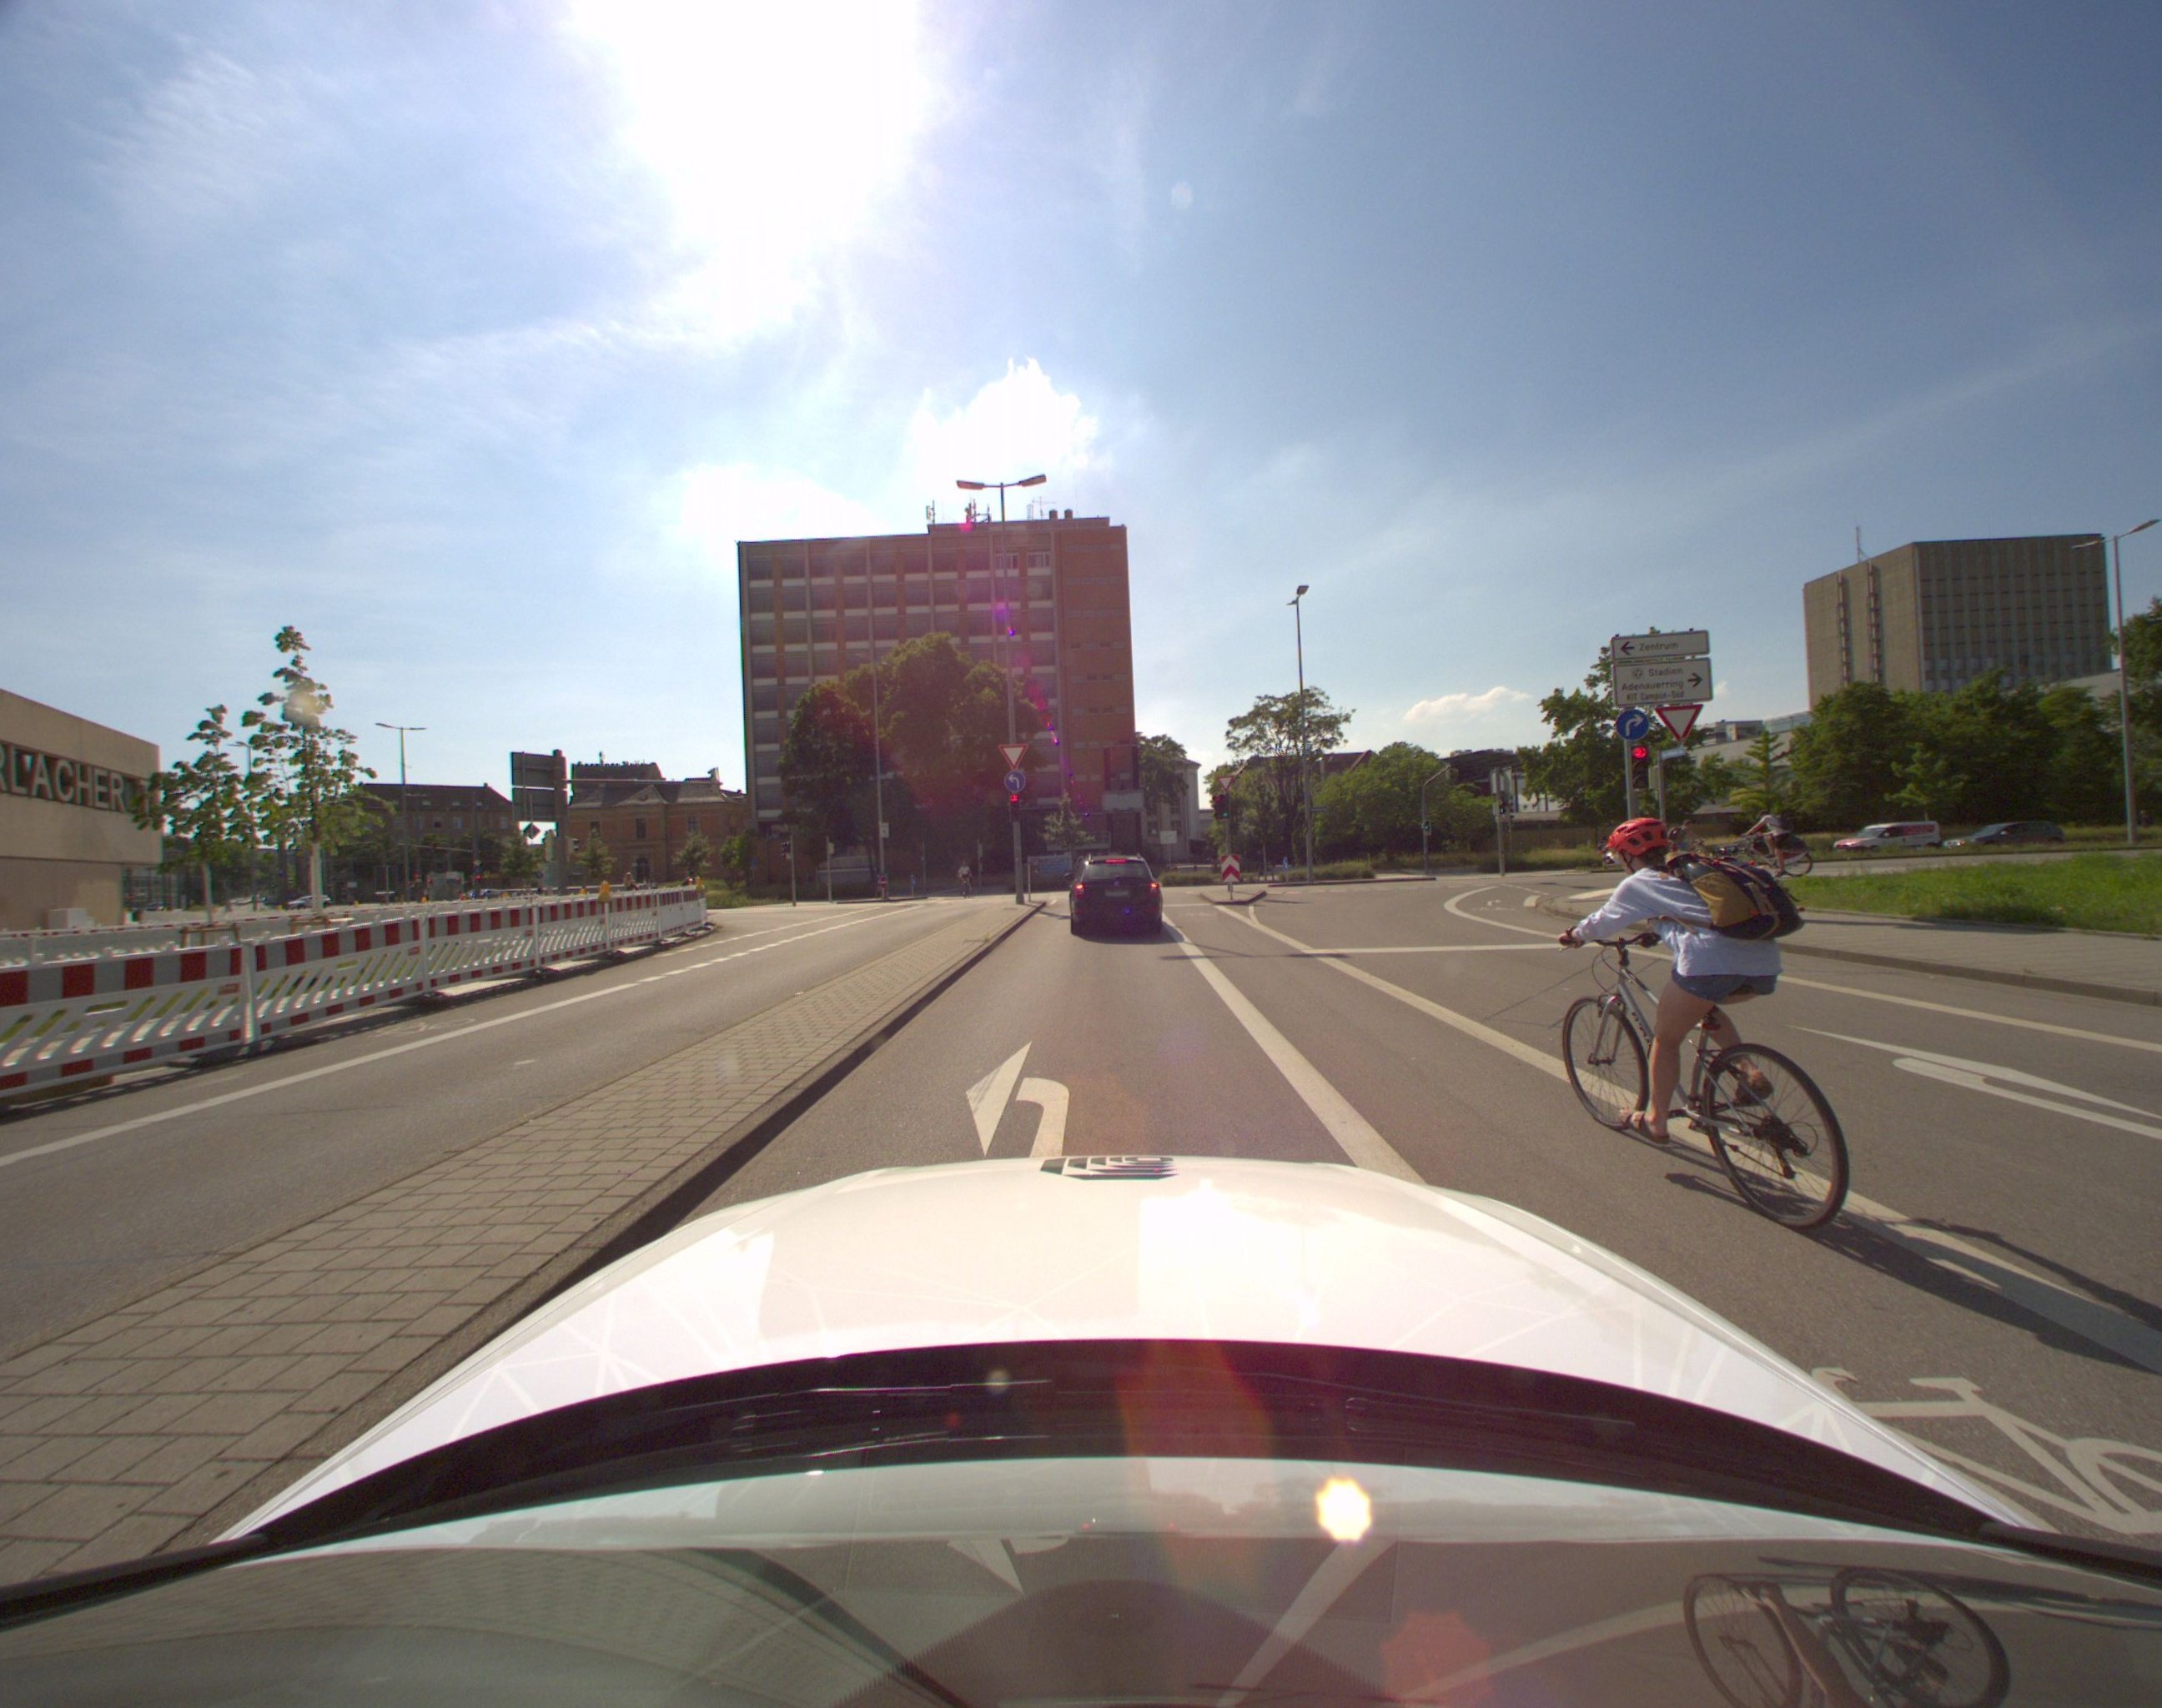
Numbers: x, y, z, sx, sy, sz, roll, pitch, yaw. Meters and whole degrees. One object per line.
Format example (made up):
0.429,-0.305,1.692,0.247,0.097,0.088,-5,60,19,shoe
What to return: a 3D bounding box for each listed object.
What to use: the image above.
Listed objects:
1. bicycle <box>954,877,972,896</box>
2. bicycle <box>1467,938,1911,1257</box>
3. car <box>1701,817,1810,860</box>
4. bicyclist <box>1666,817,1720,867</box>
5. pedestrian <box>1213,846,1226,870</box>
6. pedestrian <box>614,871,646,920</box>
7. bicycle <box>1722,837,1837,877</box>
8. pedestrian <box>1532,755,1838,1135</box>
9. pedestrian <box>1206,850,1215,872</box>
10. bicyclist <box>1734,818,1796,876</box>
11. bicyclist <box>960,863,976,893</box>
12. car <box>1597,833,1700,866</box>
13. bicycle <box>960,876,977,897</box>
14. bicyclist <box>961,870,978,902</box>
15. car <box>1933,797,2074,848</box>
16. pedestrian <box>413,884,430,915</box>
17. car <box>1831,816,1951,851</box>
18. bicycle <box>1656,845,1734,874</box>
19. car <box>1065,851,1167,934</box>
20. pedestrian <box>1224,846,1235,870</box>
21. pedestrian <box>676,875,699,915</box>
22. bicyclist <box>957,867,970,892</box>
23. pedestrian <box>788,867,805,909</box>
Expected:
-6.779,1.862,47.032,0.702,0.977,2.030,-3,0,0,bicycle
2.665,0.977,3.937,0.594,0.931,2.027,-2,-1,0,bicycle
35.758,-0.816,43.272,3.970,2.013,2.002,-3,0,3,car
19.223,-0.369,25.607,1.157,1.474,0.566,-3,0,14,bicyclist
11.529,0.323,67.594,0.787,1.874,0.642,-4,0,23,pedestrian
-16.678,1.543,30.131,0.737,1.752,1.105,-3,-3,-14,pedestrian
17.905,0.086,20.926,0.678,0.916,2.143,-3,0,-41,bicycle
2.646,0.357,3.696,0.581,1.466,1.013,-1,-1,-2,pedestrian
10.768,0.595,67.822,0.591,1.874,0.642,-1,-1,25,pedestrian
17.734,-0.170,21.122,0.499,1.470,1.129,1,-2,-39,bicyclist
-5.744,1.199,41.486,0.617,1.443,0.919,-5,0,-3,bicyclist
30.065,-0.214,43.243,3.973,1.464,2.000,-3,-1,1,car
-5.704,1.635,41.453,0.617,0.961,1.966,-5,0,-3,bicycle
-5.721,1.638,41.806,0.617,1.581,1.013,-5,0,-3,bicyclist
43.297,-1.439,38.323,3.966,2.014,2.004,-3,-3,7,car
-43.090,2.980,53.224,0.621,2.013,0.525,-3,-1,15,pedestrian
42.070,-1.028,42.379,4.294,1.569,1.911,-3,0,1,car
19.270,0.177,25.603,1.876,0.792,0.562,-3,1,14,bicycle
0.690,0.684,16.266,1.773,1.443,3.820,-1,0,2,car
12.135,0.333,66.558,0.634,1.874,0.797,-4,0,1,pedestrian
-15.272,1.596,31.609,0.632,1.491,0.614,-3,0,-15,pedestrian
-6.783,1.450,47.036,0.537,1.417,1.030,-4,-1,0,bicyclist
-13.950,1.658,39.964,0.618,2.014,0.679,0,-2,-36,pedestrian
